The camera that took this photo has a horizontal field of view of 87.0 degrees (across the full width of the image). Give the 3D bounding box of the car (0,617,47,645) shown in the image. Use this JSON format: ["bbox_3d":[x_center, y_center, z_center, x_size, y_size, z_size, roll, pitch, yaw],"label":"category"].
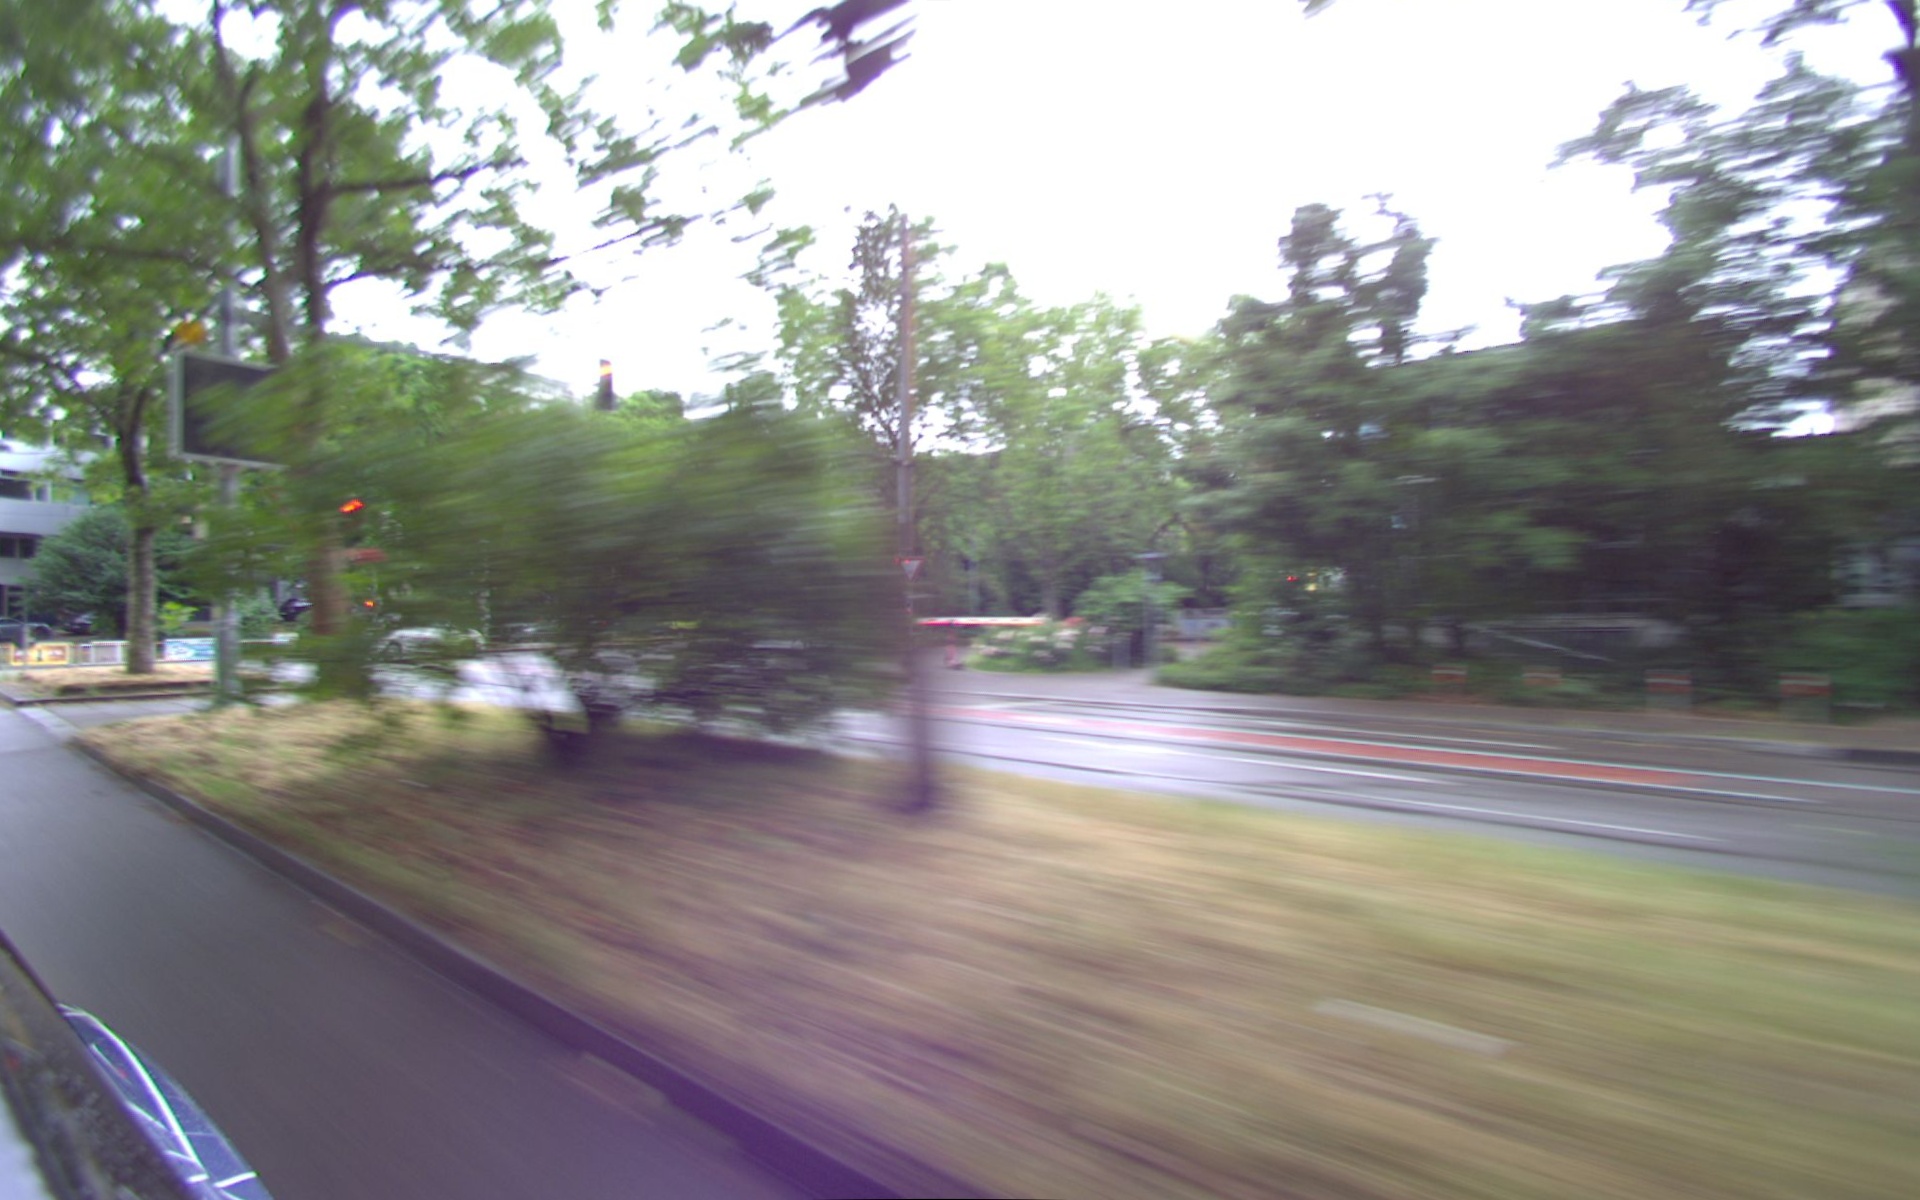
[{"bbox_3d":[-50.386,1.649,52.555,1.860,1.441,4.076,-2,-1,13],"label":"car"}]

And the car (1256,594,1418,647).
[{"bbox_3d":[13.330,0.742,35.865,5.191,1.744,1.857,-2,-1,28],"label":"car"}]

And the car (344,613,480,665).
[{"bbox_3d":[-17.265,1.215,31.983,1.655,1.445,3.393,-5,-3,41],"label":"car"}]

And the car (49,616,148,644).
[{"bbox_3d":[-49.105,1.681,57.774,1.860,1.441,3.983,-2,-1,13],"label":"car"}]
